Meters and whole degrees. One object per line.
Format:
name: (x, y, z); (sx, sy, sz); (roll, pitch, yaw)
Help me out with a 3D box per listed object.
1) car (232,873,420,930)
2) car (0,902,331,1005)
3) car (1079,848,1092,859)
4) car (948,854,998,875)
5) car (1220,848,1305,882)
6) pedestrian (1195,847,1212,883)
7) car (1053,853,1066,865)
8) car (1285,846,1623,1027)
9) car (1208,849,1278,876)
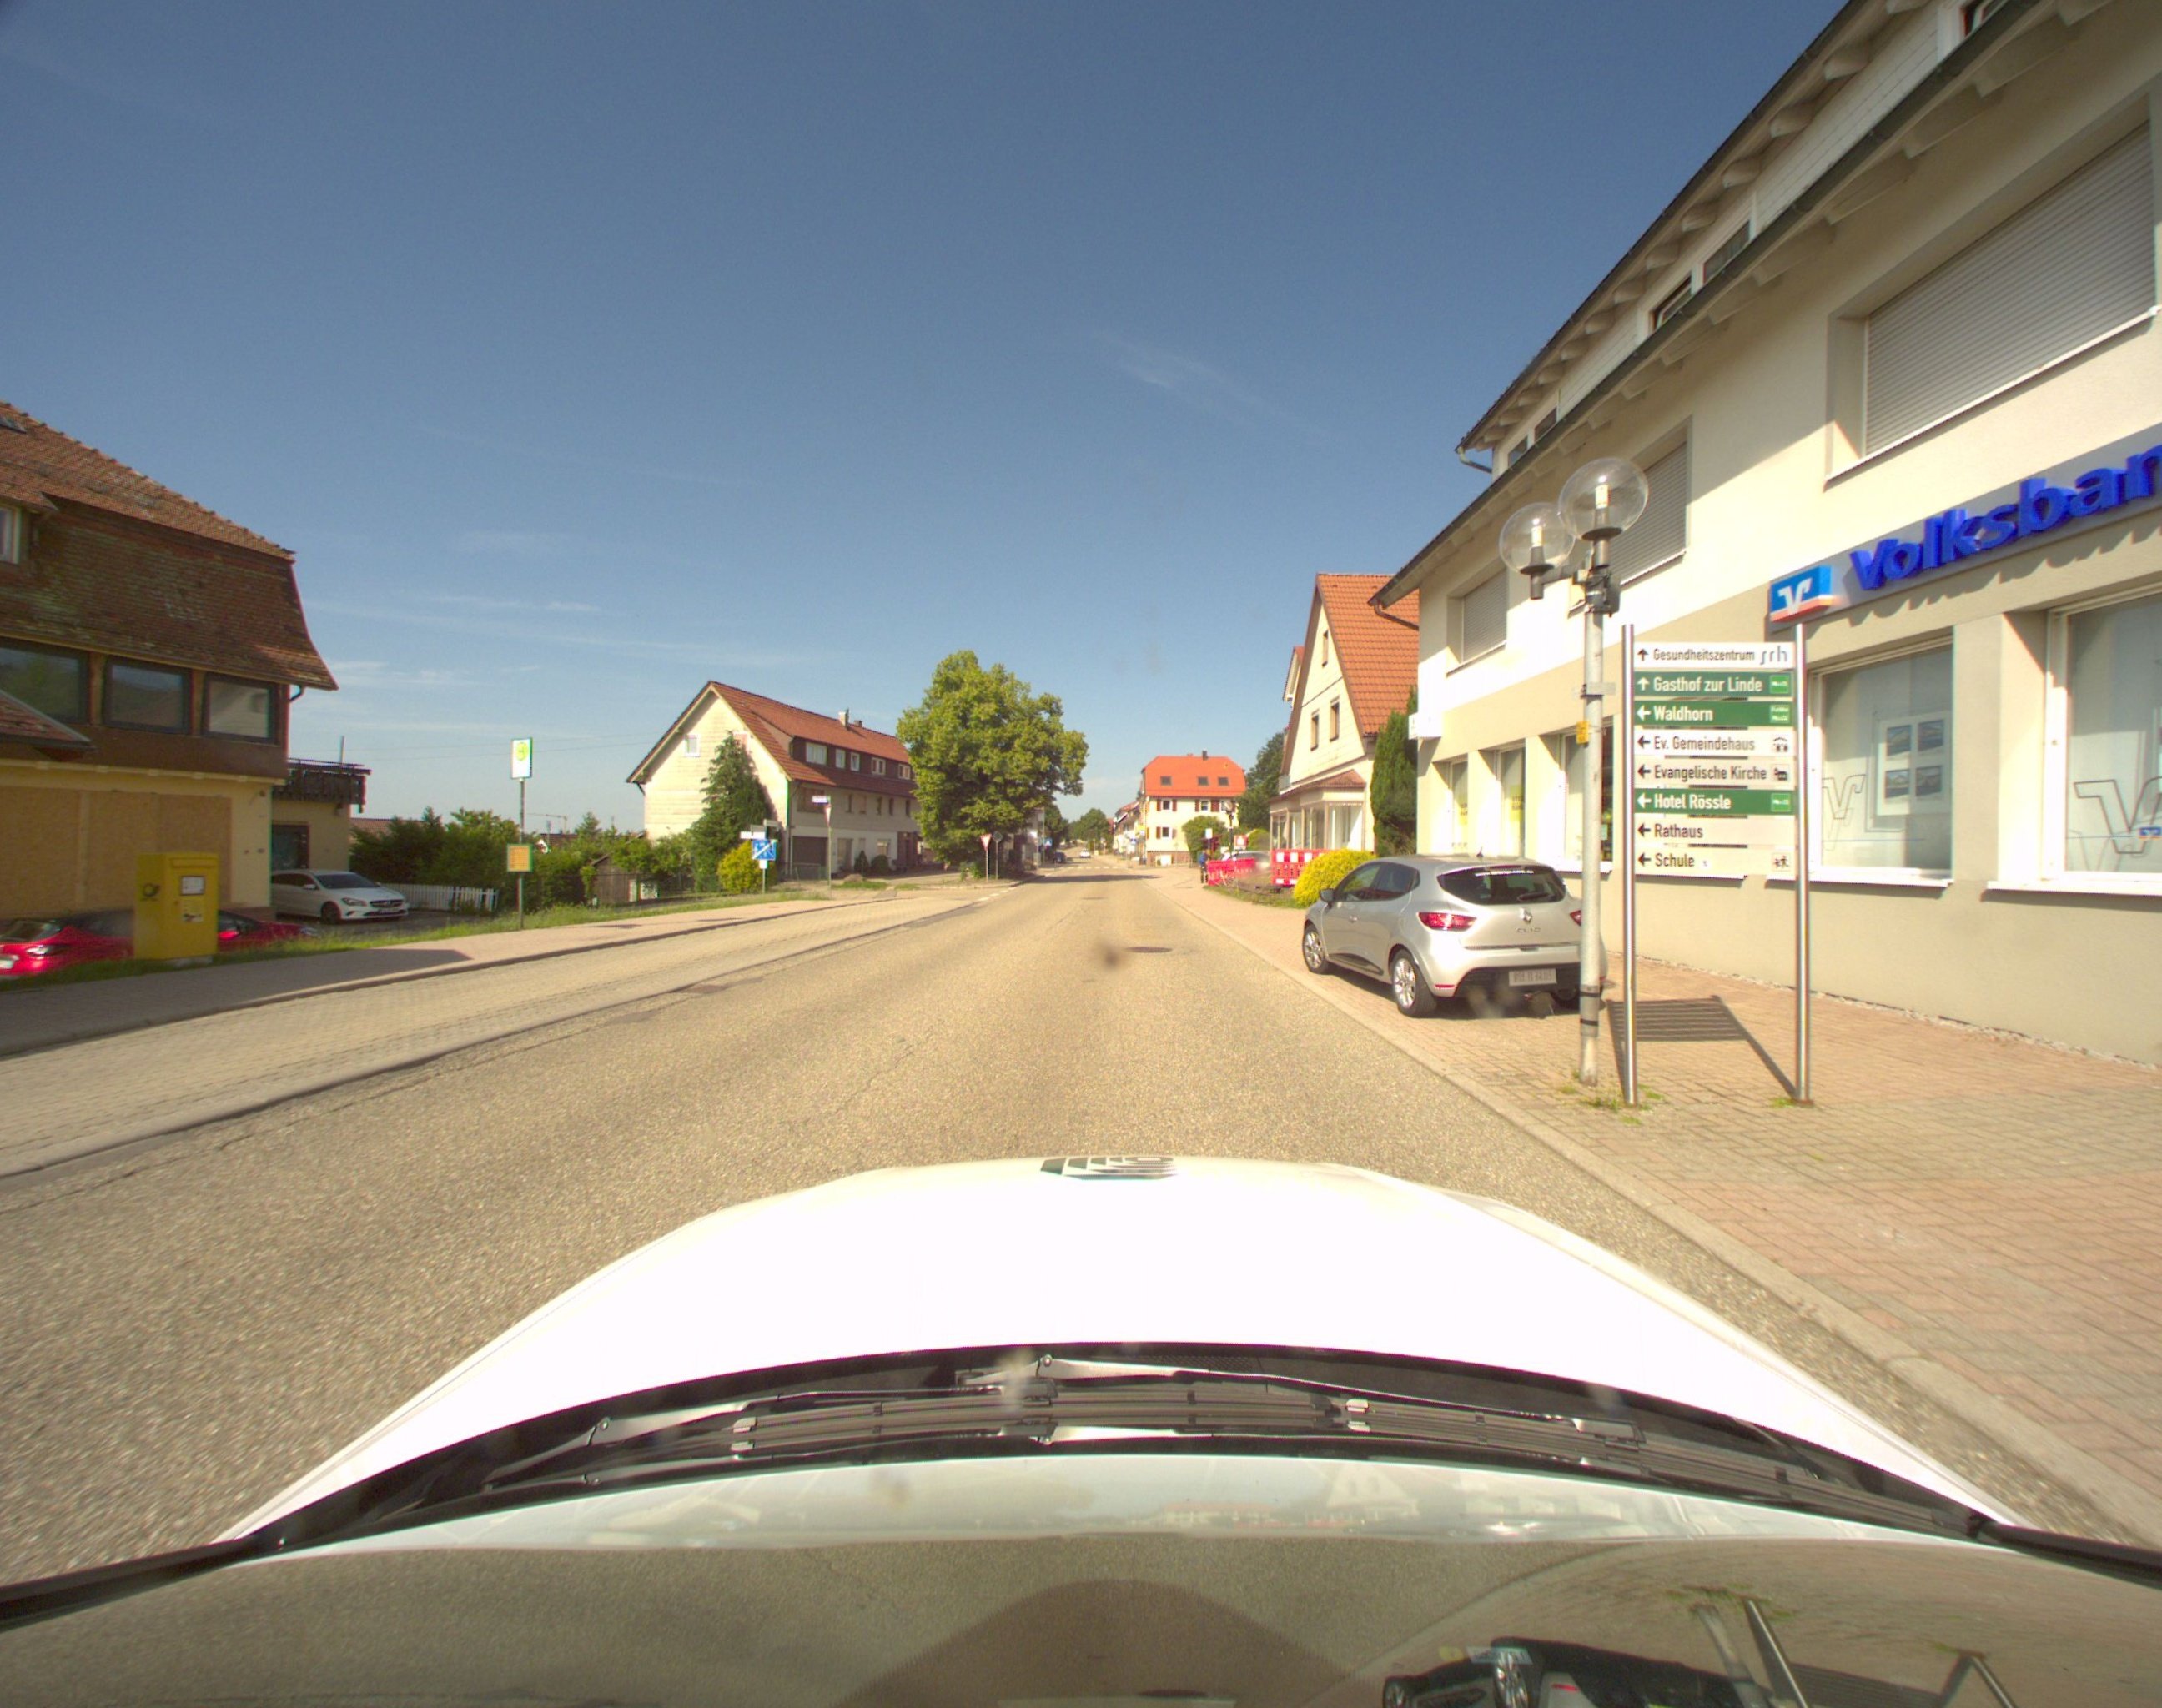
car: (-22.202, 1.367, 24.005); (4.274, 1.511, 1.805); (1, -1, 11)
car: (-16.364, 1.657, 14.544); (1.707, 1.297, 4.017); (-2, 0, 16)
car: (0.851, -0.017, 160.145); (2.489, 2.013, 4.301); (-3, 0, -2)
car: (-9.142, 0.918, 69.148); (3.733, 1.455, 1.823); (-3, -5, 13)
car: (8.707, 0.520, 38.992); (3.834, 1.558, 1.971); (0, 0, 14)
pedestrian: (6.219, 0.534, 41.481); (0.795, 1.784, 0.981); (-1, 0, 6)
car: (-3.022, 0.633, 114.694); (1.666, 1.533, 3.536); (4, 0, 1)
car: (3.606, 0.681, 8.736); (1.631, 1.419, 3.931); (-3, 0, -3)
car: (9.817, 0.489, 49.576); (3.969, 1.548, 1.883); (-1, 0, 3)
